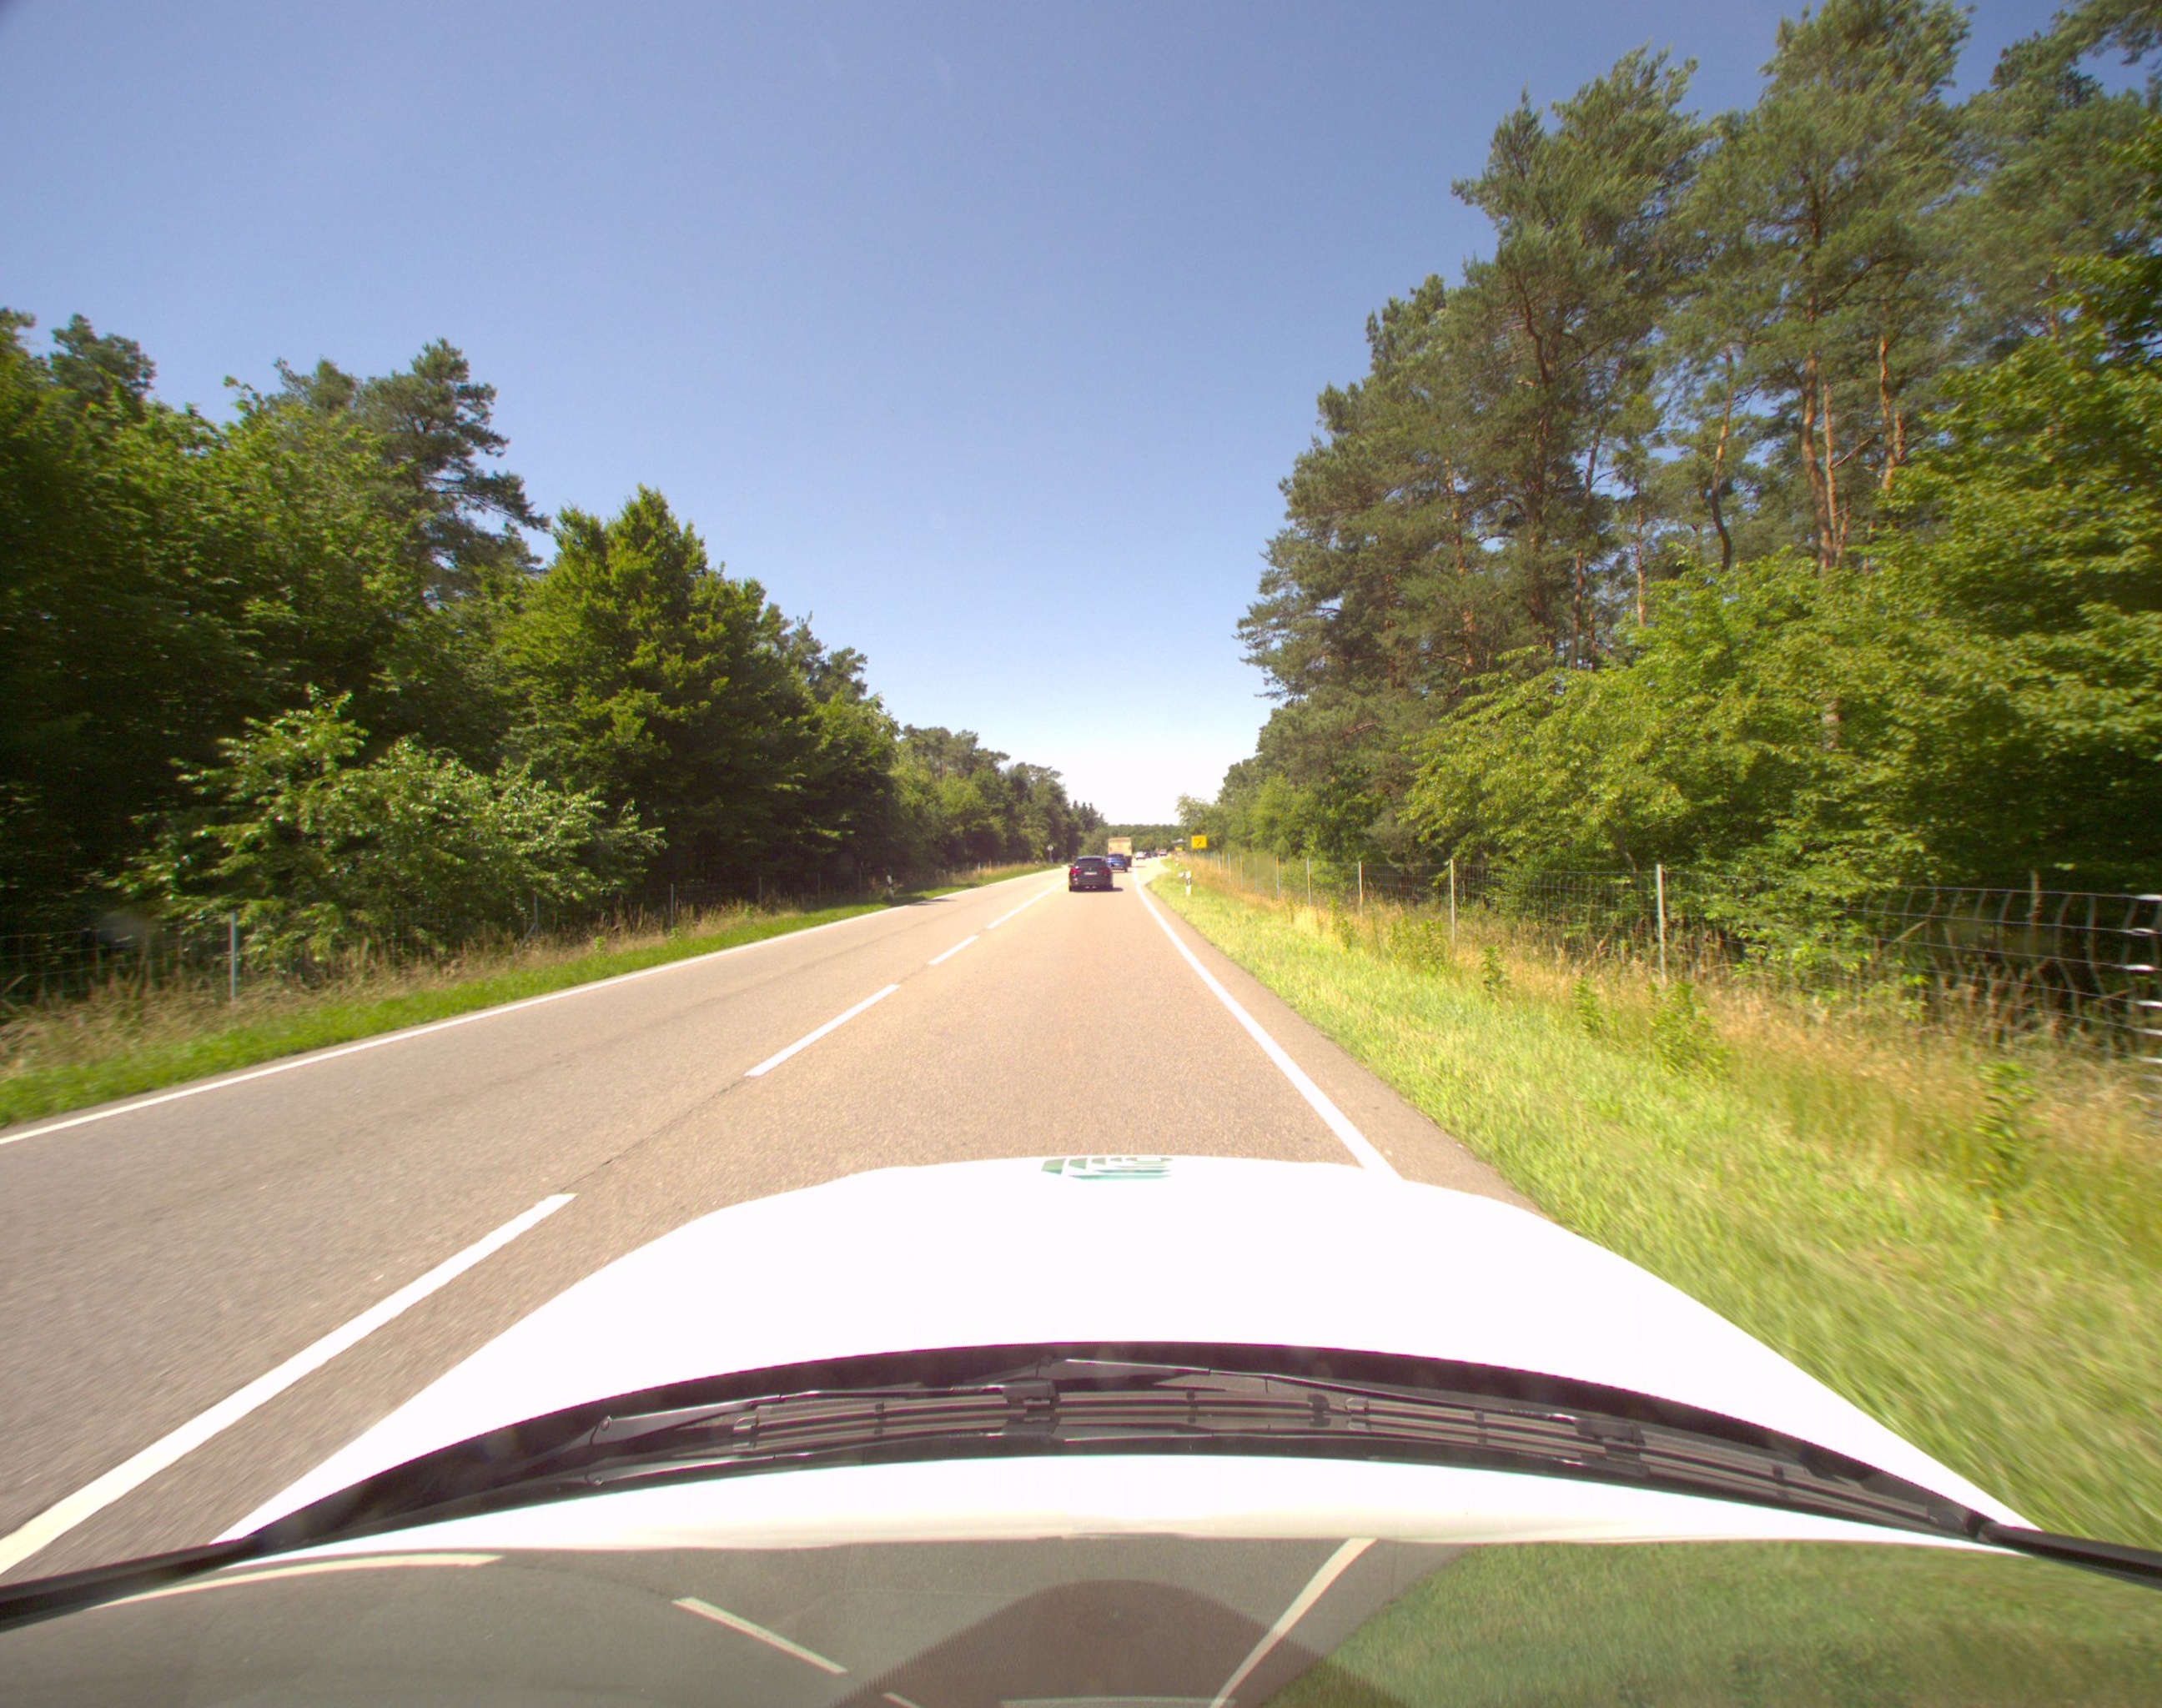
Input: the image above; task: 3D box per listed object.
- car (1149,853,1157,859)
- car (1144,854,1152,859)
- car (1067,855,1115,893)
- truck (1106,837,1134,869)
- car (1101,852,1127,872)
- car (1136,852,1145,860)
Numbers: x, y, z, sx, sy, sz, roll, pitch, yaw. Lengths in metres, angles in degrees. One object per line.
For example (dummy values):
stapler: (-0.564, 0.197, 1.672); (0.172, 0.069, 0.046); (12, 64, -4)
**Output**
car: (20.567, 0.569, 232.099); (1.983, 1.636, 4.007); (-3, 0, 6)
car: (17.197, 0.626, 209.110); (1.984, 1.420, 4.005); (-1, 0, 5)
car: (0.370, 0.800, 34.893); (1.816, 1.470, 3.997); (-2, 0, -2)
truck: (4.429, -0.134, 91.195); (2.953, 3.387, 6.445); (-2, 0, 4)
car: (2.704, 0.643, 67.173); (1.940, 1.541, 4.001); (-3, 0, 1)
car: (13.086, 0.473, 179.603); (1.856, 1.605, 4.001); (0, 0, 1)
